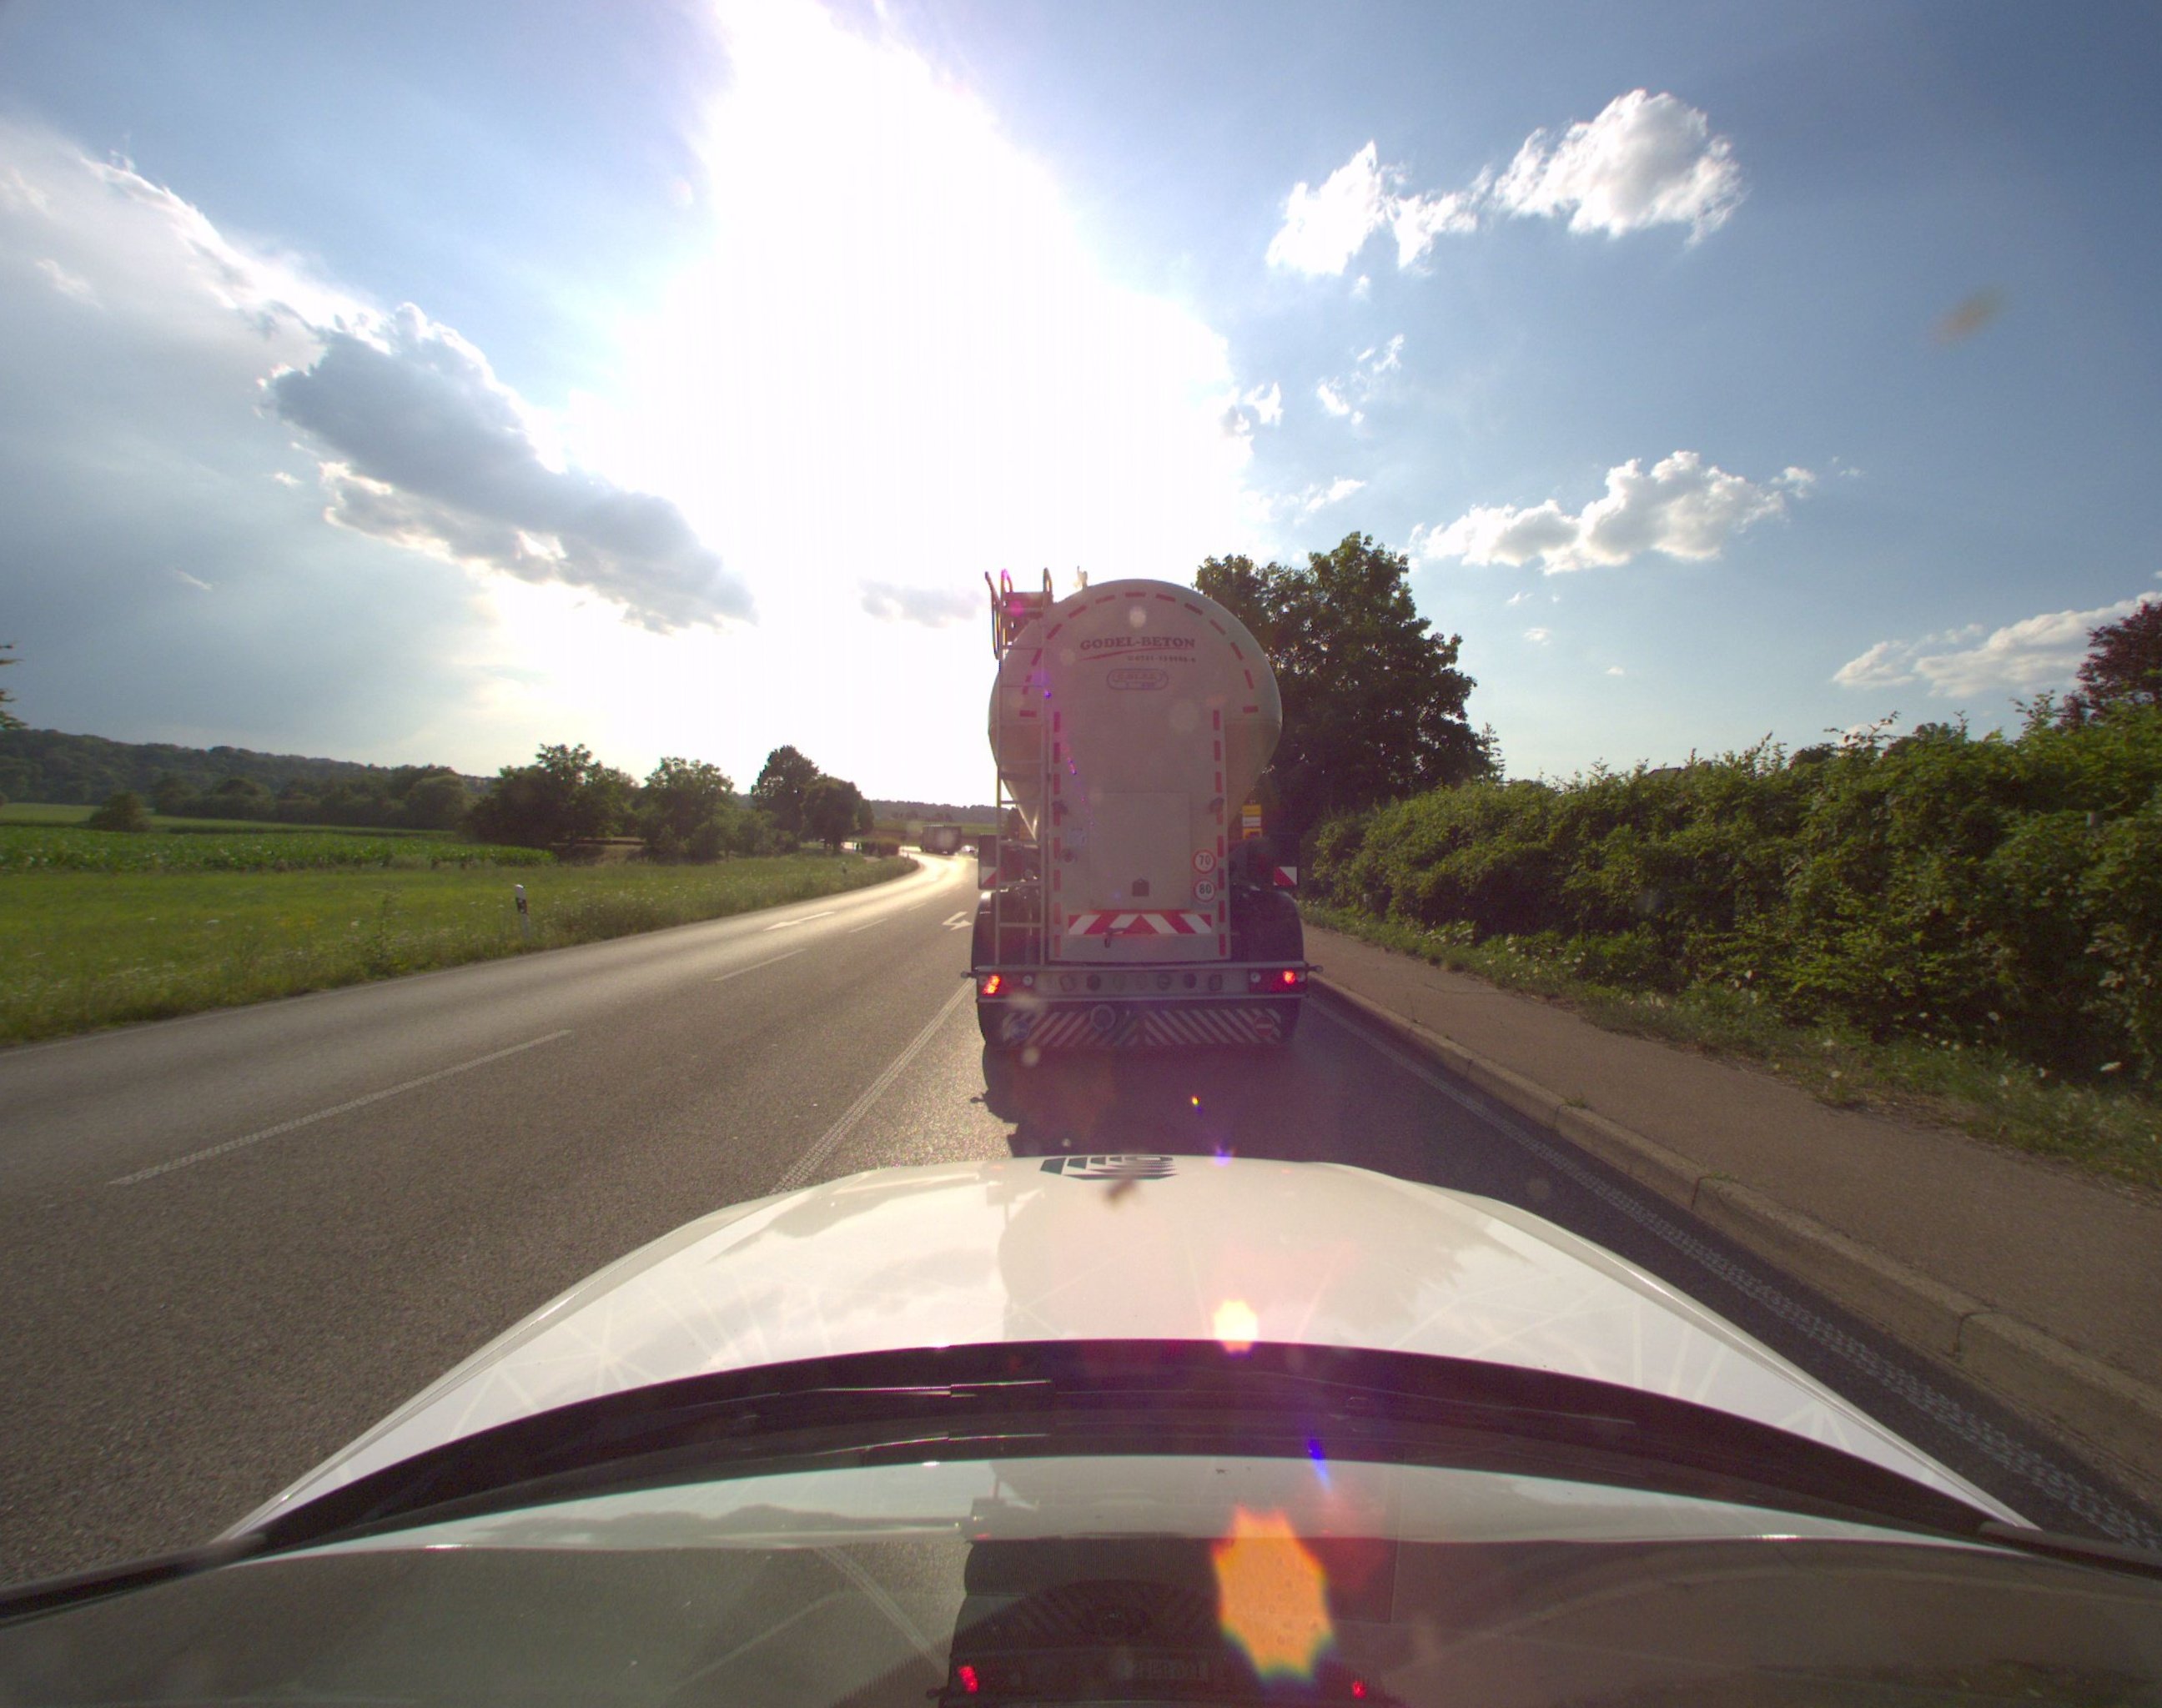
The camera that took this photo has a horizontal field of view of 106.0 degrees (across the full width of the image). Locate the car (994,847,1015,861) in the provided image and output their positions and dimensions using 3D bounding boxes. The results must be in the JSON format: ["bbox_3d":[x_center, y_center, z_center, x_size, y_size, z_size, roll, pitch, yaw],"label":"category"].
[{"bbox_3d":[-7.695,-0.026,81.856,1.583,1.341,3.407,1,0,-16],"label":"car"}]

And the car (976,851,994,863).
[{"bbox_3d":[-11.362,0.363,96.253,1.583,1.341,3.407,1,0,-16],"label":"car"}]

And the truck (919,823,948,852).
[{"bbox_3d":[-23.180,-2.568,128.014,3.388,4.350,5.665,1,0,-21],"label":"truck"}]

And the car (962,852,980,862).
[{"bbox_3d":[-13.872,0.321,102.602,1.773,1.206,3.407,1,0,-16],"label":"car"}]

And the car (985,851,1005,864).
[{"bbox_3d":[-9.287,0.378,88.123,1.583,1.341,3.407,1,0,-16],"label":"car"}]

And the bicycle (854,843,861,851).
[{"bbox_3d":[-29.992,-0.917,109.128,0.634,1.074,1.667,2,0,-6],"label":"bicycle"}]

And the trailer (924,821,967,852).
[{"bbox_3d":[-20.163,-2.505,120.210,3.388,4.350,14.192,1,0,-21],"label":"trailer"}]

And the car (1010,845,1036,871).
[{"bbox_3d":[-4.844,0.314,67.454,1.861,2.013,3.708,0,0,-9],"label":"car"}]

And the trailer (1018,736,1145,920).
[{"bbox_3d":[0.262,-0.633,26.349,2.943,4.315,14.182,1,0,2],"label":"trailer"}]

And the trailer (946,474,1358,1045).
[{"bbox_3d":[0.368,-0.676,10.741,2.902,4.006,9.922,0,0,-2],"label":"trailer"}]

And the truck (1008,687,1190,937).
[{"bbox_3d":[0.224,-0.690,15.153,2.902,4.006,4.056,0,0,-3],"label":"truck"}]
